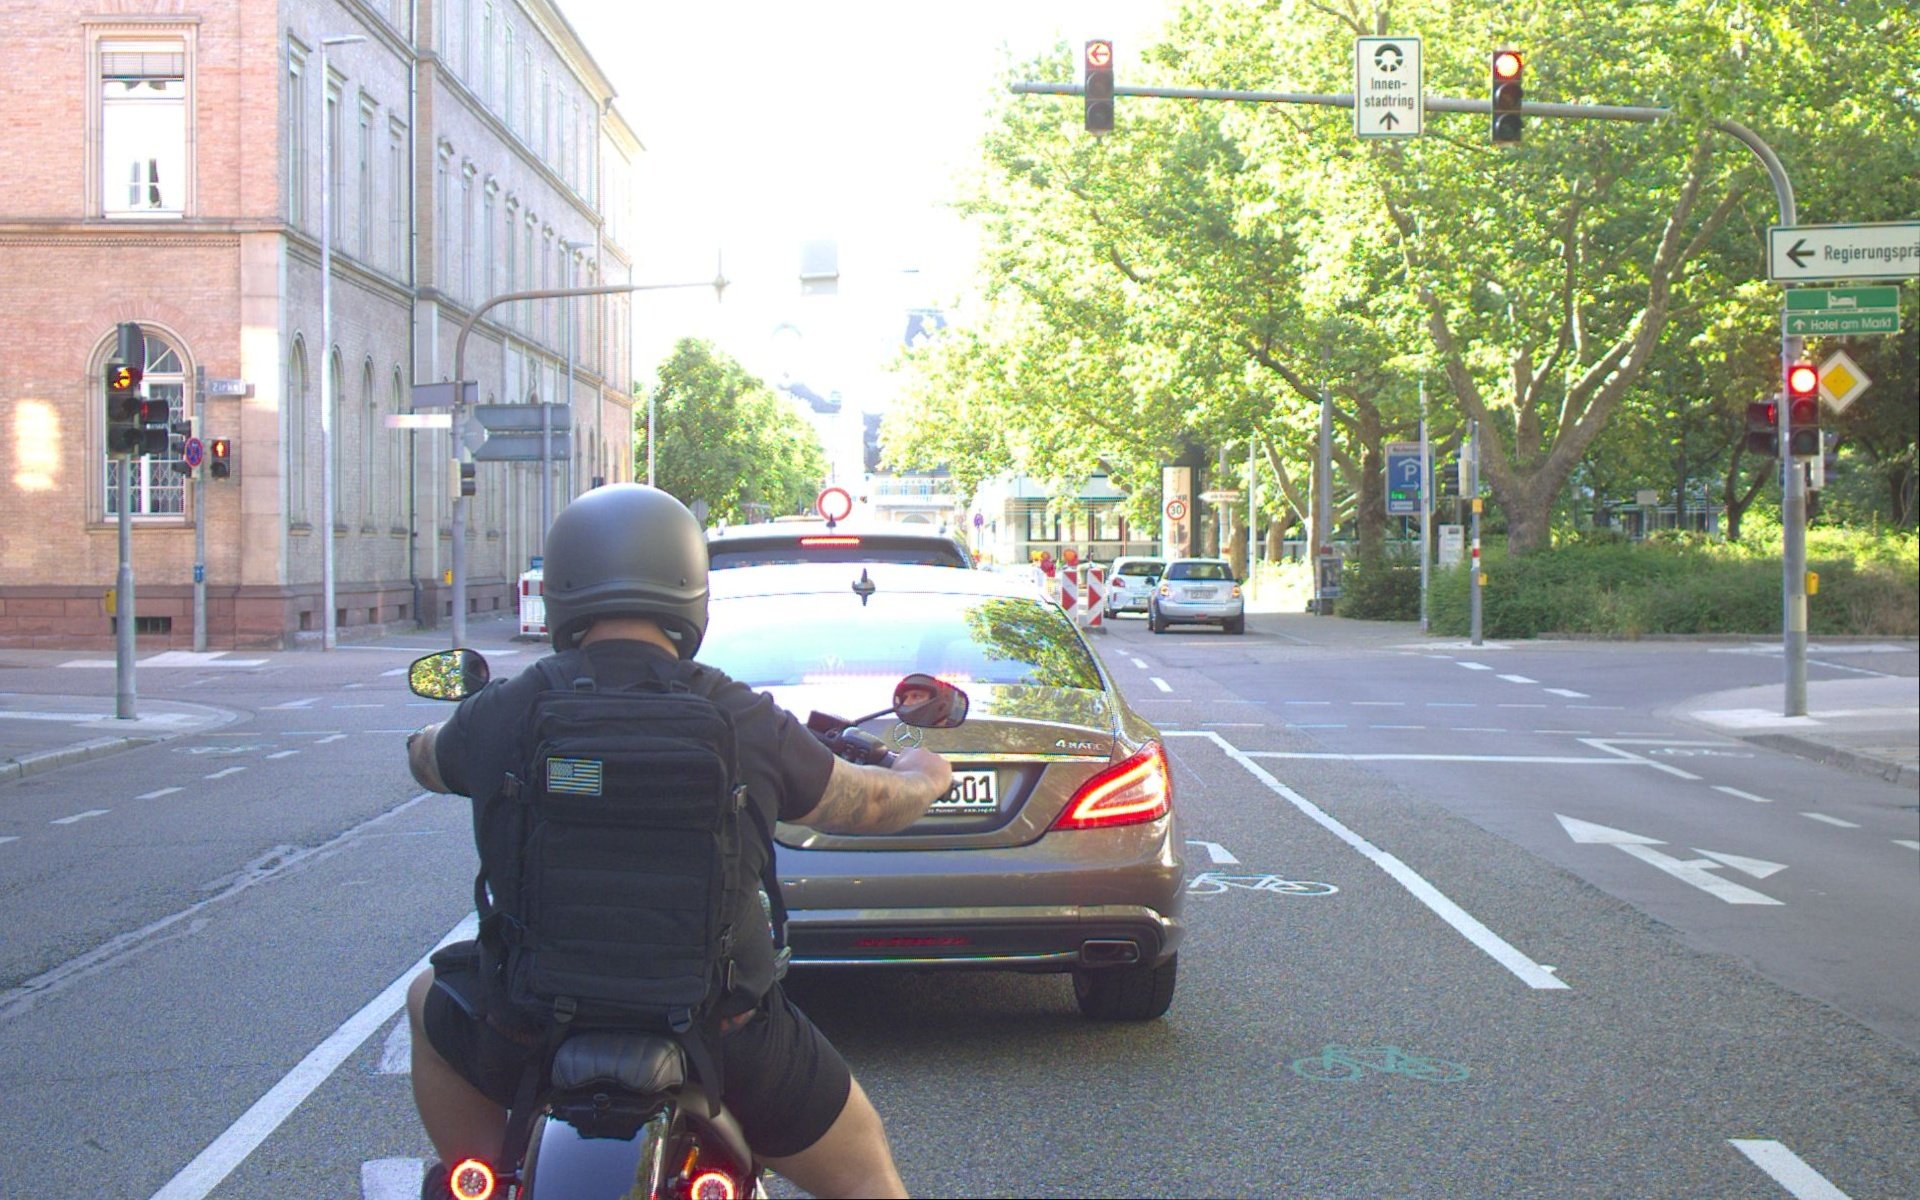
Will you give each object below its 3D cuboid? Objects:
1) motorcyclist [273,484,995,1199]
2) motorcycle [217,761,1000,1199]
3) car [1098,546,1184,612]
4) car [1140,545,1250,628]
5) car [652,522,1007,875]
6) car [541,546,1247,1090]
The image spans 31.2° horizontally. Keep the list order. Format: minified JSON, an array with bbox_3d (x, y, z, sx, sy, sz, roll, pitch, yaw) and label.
[{"bbox_3d":[-0.455,0.623,5.427,0.989,1.591,1.404,0,1,-1],"label":"motorcyclist"},{"bbox_3d":[-0.458,0.879,5.585,0.989,1.075,2.452,0,1,-1],"label":"motorcycle"},{"bbox_3d":[4.217,-0.493,80.468,1.856,1.481,3.908,1,1,1],"label":"car"},{"bbox_3d":[4.414,-0.275,65.069,1.821,1.475,3.908,-1,1,1],"label":"car"},{"bbox_3d":[-0.640,0.406,17.787,1.612,1.602,4.329,0,1,-1],"label":"car"},{"bbox_3d":[-0.434,0.557,11.621,1.945,1.468,4.363,0,1,-7],"label":"car"}]
